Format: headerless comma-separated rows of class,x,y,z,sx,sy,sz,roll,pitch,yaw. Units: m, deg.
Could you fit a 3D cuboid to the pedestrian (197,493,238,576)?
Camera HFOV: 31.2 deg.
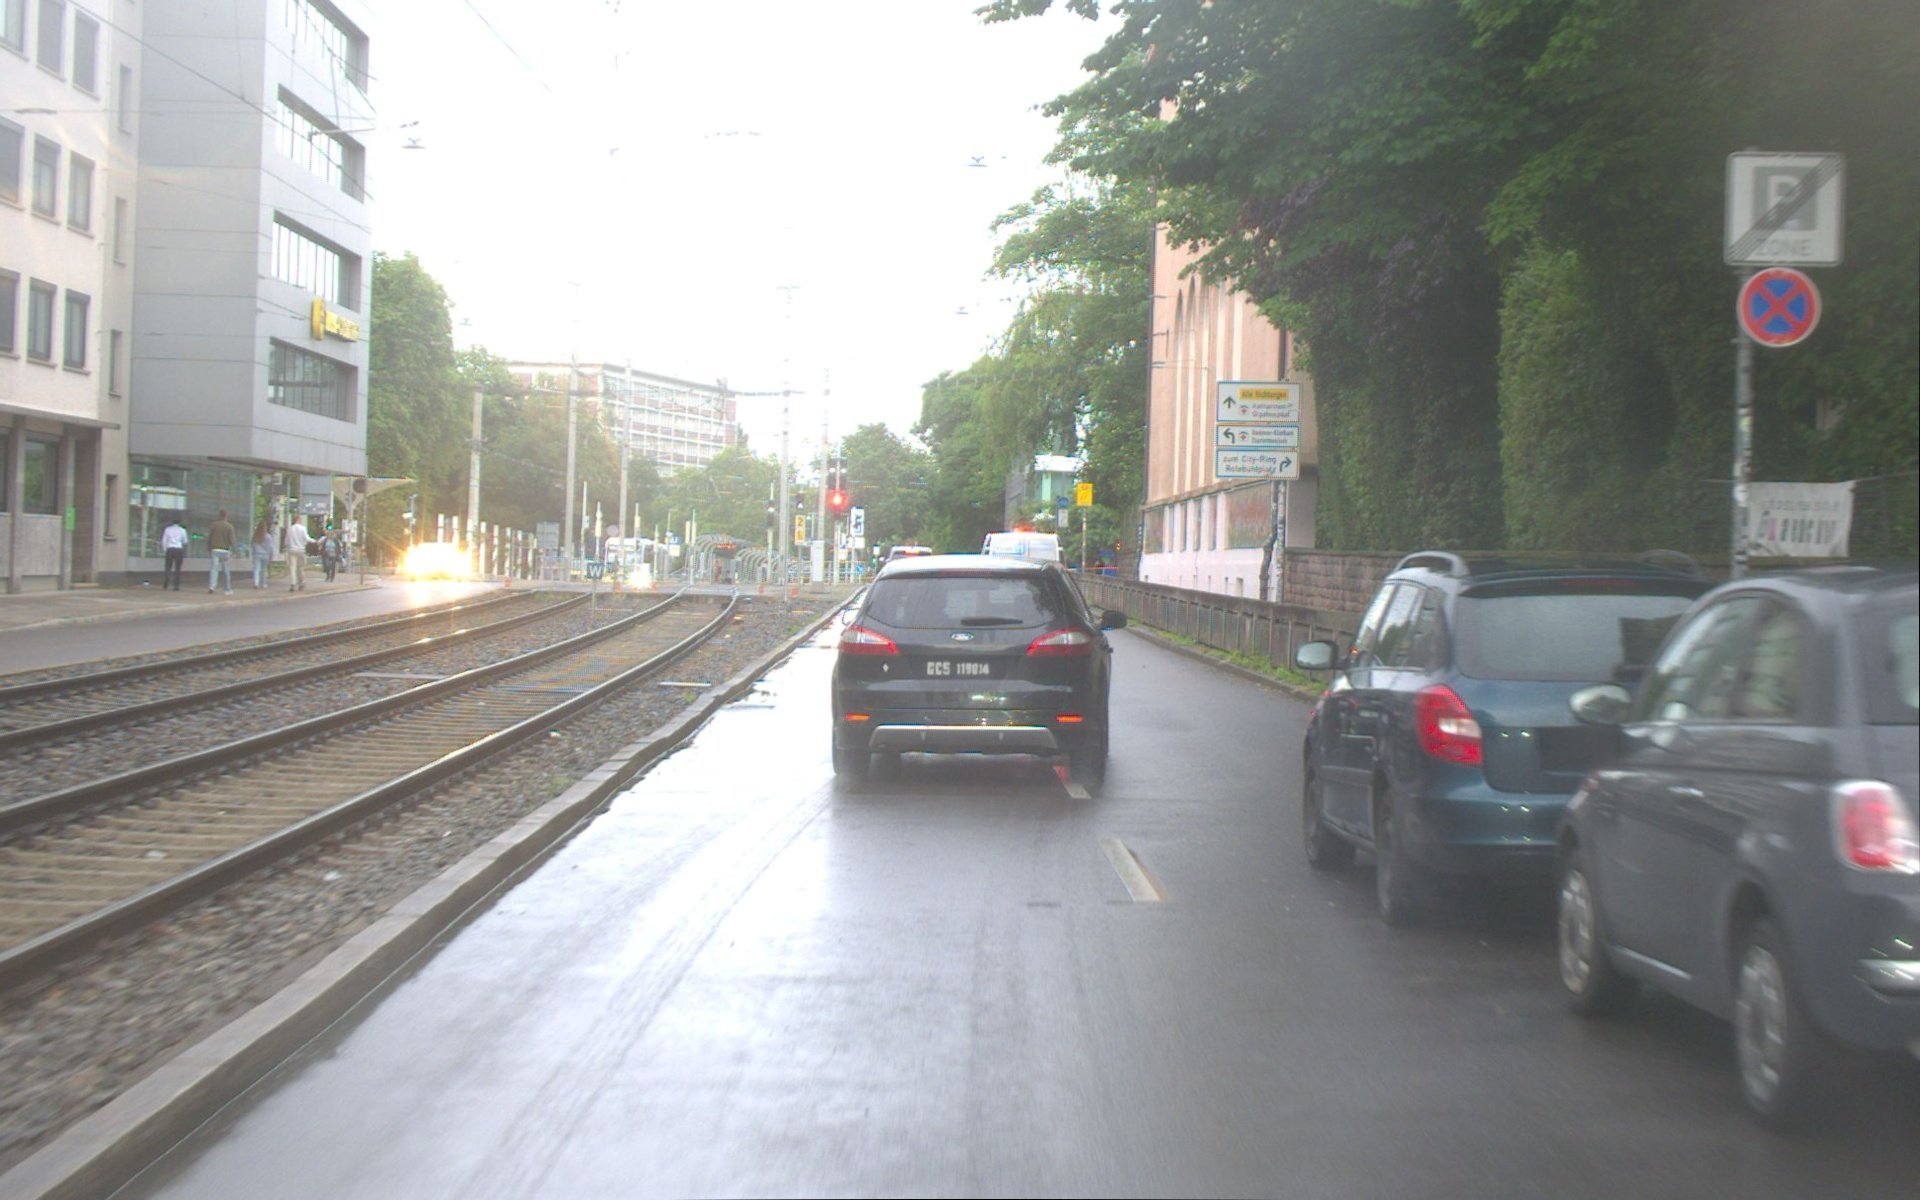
pedestrian,-17.003,-1.493,78.750,0.744,1.847,0.839,1,-1,-1

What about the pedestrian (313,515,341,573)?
pedestrian,-20.593,-1.824,111.888,0.744,1.847,0.839,1,-1,-1

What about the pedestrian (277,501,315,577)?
pedestrian,-16.458,-1.518,85.229,0.744,1.847,0.839,1,-1,-1

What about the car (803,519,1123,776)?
car,0.016,0.314,23.938,1.993,1.588,4.271,1,0,0

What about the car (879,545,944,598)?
car,-1.529,-0.898,109.423,1.993,1.588,4.271,1,0,0

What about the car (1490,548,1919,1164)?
car,2.848,0.618,10.405,1.738,1.484,4.000,2,1,-1

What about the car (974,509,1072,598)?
car,1.336,-0.976,74.566,1.993,1.810,4.271,1,0,0

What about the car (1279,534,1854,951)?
car,2.463,0.501,14.917,1.642,1.510,4.039,2,1,-1

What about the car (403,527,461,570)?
car,-19.051,-1.863,124.103,1.993,1.437,4.001,2,1,-9

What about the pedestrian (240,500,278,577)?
pedestrian,-17.361,-1.517,85.175,0.744,1.847,0.839,1,-1,-1

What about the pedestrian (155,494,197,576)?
pedestrian,-17.943,-1.481,78.704,0.744,1.847,0.839,1,-1,-1
